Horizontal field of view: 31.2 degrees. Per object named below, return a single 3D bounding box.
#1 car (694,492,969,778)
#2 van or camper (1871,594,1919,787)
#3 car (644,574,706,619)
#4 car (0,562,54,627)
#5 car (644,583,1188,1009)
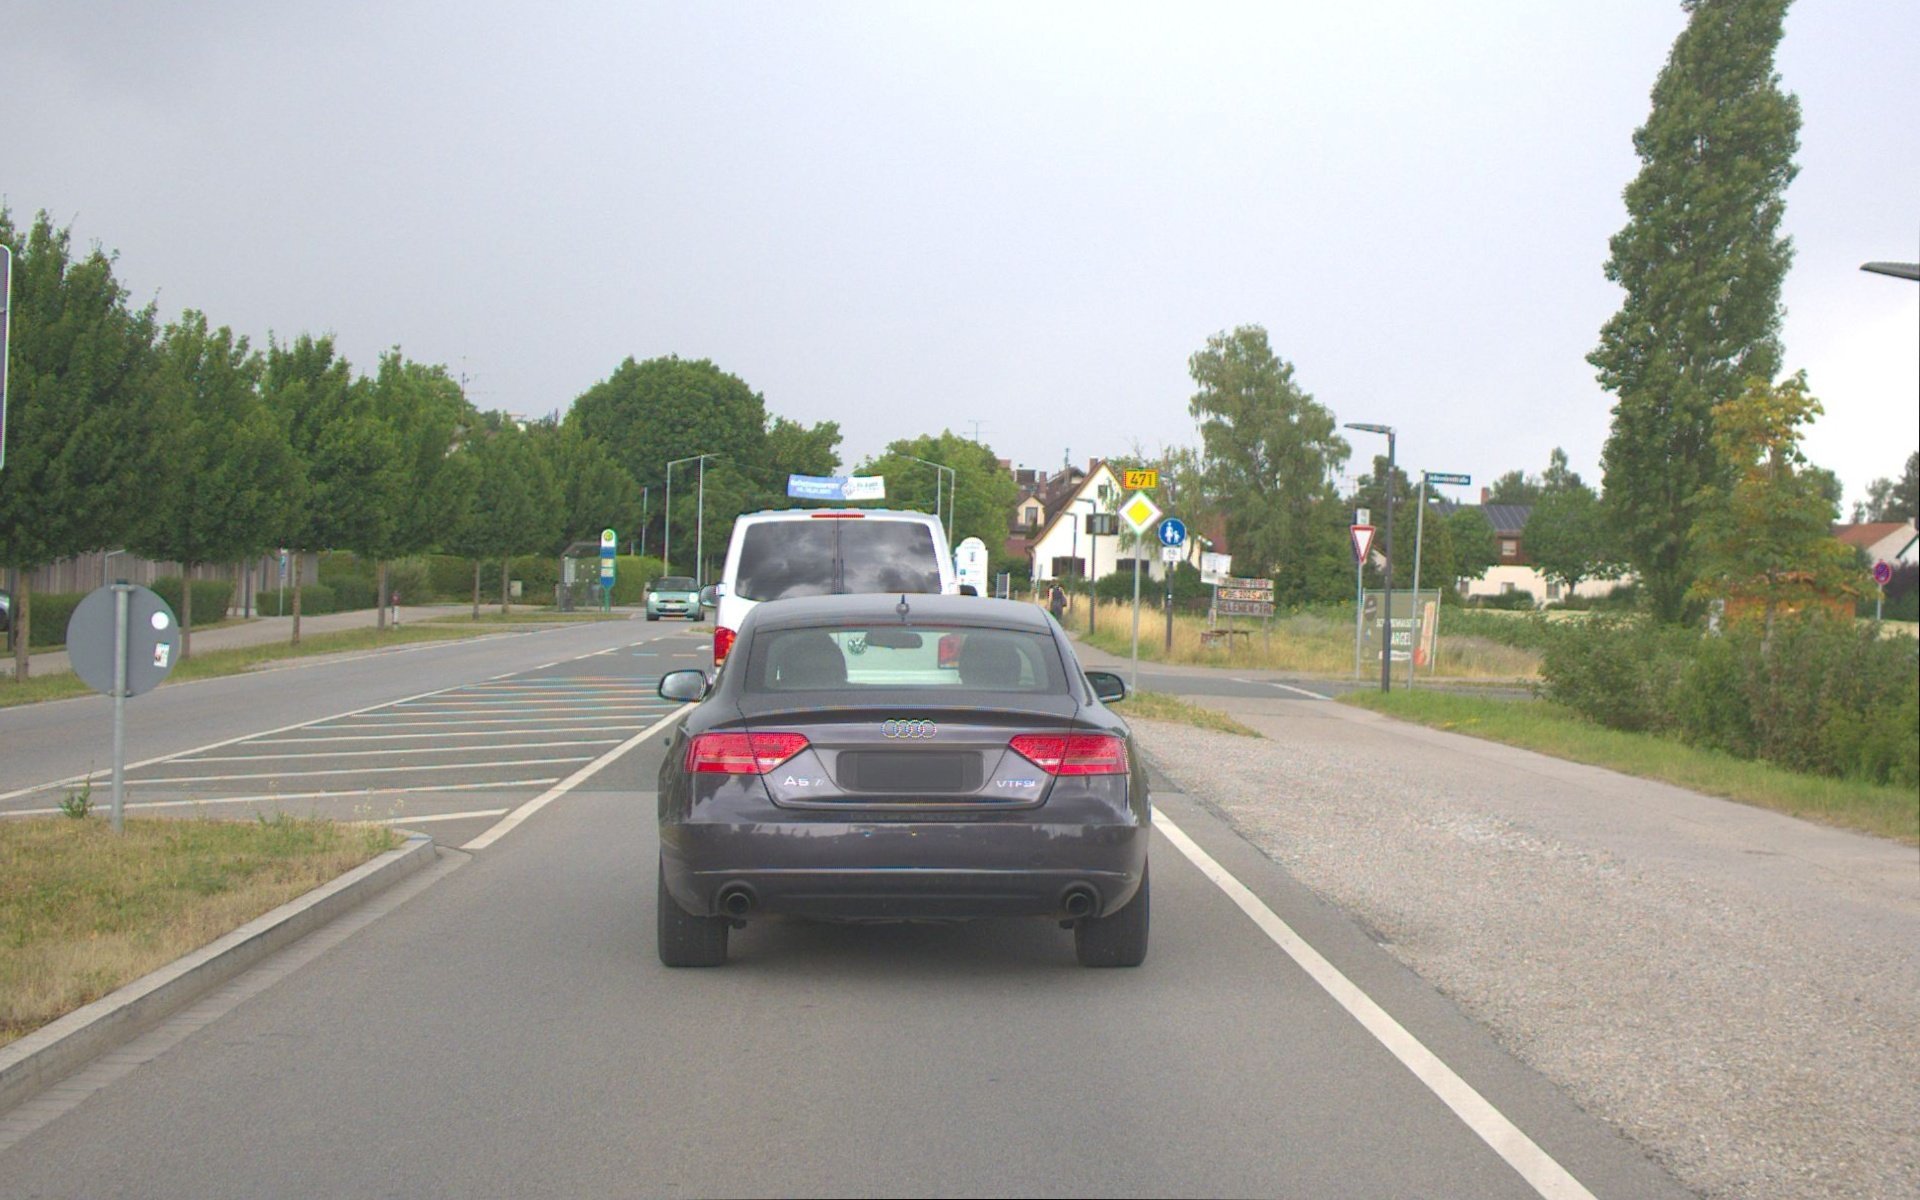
[{"bbox_3d":[-0.991,0.215,25.871,1.825,1.907,4.001,3,1,-3],"label":"car"},{"bbox_3d":[15.507,1.154,45.139,6.465,2.456,2.282,0,1,-3],"label":"van or camper"},{"bbox_3d":[-9.266,-0.128,112.167,1.770,1.439,4.000,0,1,-1],"label":"car"},{"bbox_3d":[-25.326,-0.208,87.436,3.987,1.551,2.000,3,1,0],"label":"car"},{"bbox_3d":[-0.343,0.653,13.925,1.825,1.384,4.388,0,1,-6],"label":"car"}]
